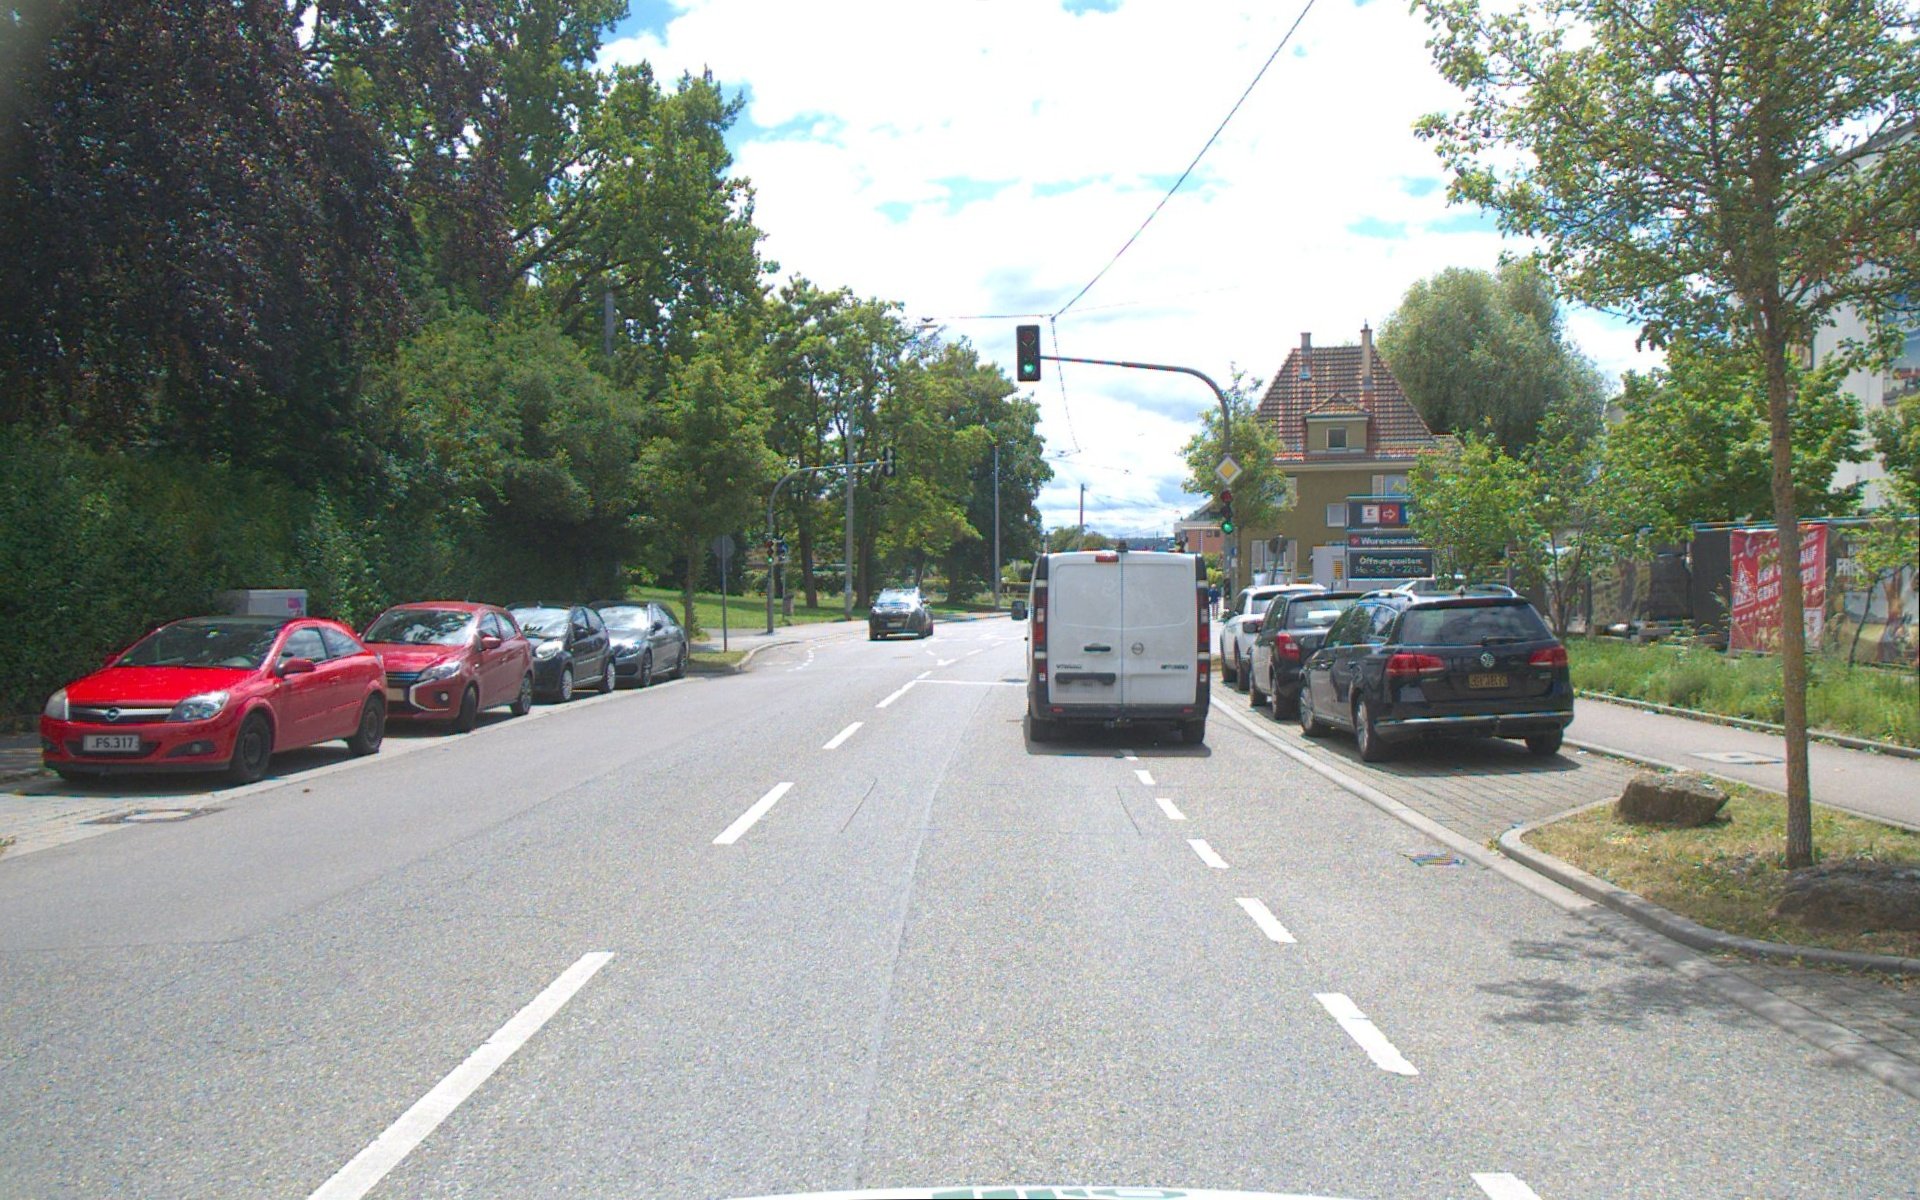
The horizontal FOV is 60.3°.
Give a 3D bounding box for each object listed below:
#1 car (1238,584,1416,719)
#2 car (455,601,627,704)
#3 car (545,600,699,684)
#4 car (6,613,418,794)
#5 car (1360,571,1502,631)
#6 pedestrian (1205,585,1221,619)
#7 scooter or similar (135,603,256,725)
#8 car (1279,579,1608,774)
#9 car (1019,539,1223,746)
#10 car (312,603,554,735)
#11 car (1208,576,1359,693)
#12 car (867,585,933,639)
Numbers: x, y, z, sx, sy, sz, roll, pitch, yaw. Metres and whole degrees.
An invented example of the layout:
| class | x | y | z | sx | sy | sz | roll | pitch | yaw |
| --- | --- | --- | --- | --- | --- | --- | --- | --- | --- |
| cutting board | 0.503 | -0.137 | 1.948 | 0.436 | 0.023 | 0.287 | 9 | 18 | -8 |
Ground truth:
| class | x | y | z | sx | sy | sz | roll | pitch | yaw |
| --- | --- | --- | --- | --- | --- | --- | --- | --- | --- |
| car | 4.586 | 0.594 | 21.137 | 1.535 | 1.519 | 4.002 | -2 | 0 | 3 |
| car | -6.439 | 0.765 | 25.790 | 1.562 | 1.476 | 3.598 | 0 | 0 | 4 |
| car | -6.039 | 0.703 | 30.085 | 1.659 | 1.389 | 4.687 | 1 | 0 | 2 |
| car | -6.784 | 0.853 | 15.615 | 1.626 | 1.402 | 4.568 | 0 | 0 | 3 |
| car | 14.428 | 0.027 | 50.788 | 3.904 | 1.634 | 1.609 | -2 | 0 | 3 |
| pedestrian | 11.859 | 0.103 | 77.628 | 0.664 | 1.580 | 0.836 | -2 | -2 | 8 |
| scooter or similar | -9.527 | 0.770 | 20.667 | 0.656 | 1.437 | 1.650 | 0 | 0 | 4 |
| car | 4.463 | 0.629 | 16.109 | 1.728 | 1.502 | 4.936 | -3 | 0 | 1 |
| car | 1.670 | 0.408 | 18.683 | 1.899 | 1.995 | 4.834 | 1 | 0 | 1 |
| car | -6.519 | 0.787 | 20.917 | 1.615 | 1.476 | 4.106 | 0 | 0 | 2 |
| car | 5.136 | 0.508 | 26.745 | 1.701 | 1.644 | 4.388 | -3 | 0 | 3 |
| car | -1.958 | 0.374 | 55.057 | 1.795 | 1.645 | 4.154 | -2 | 0 | 3 |
